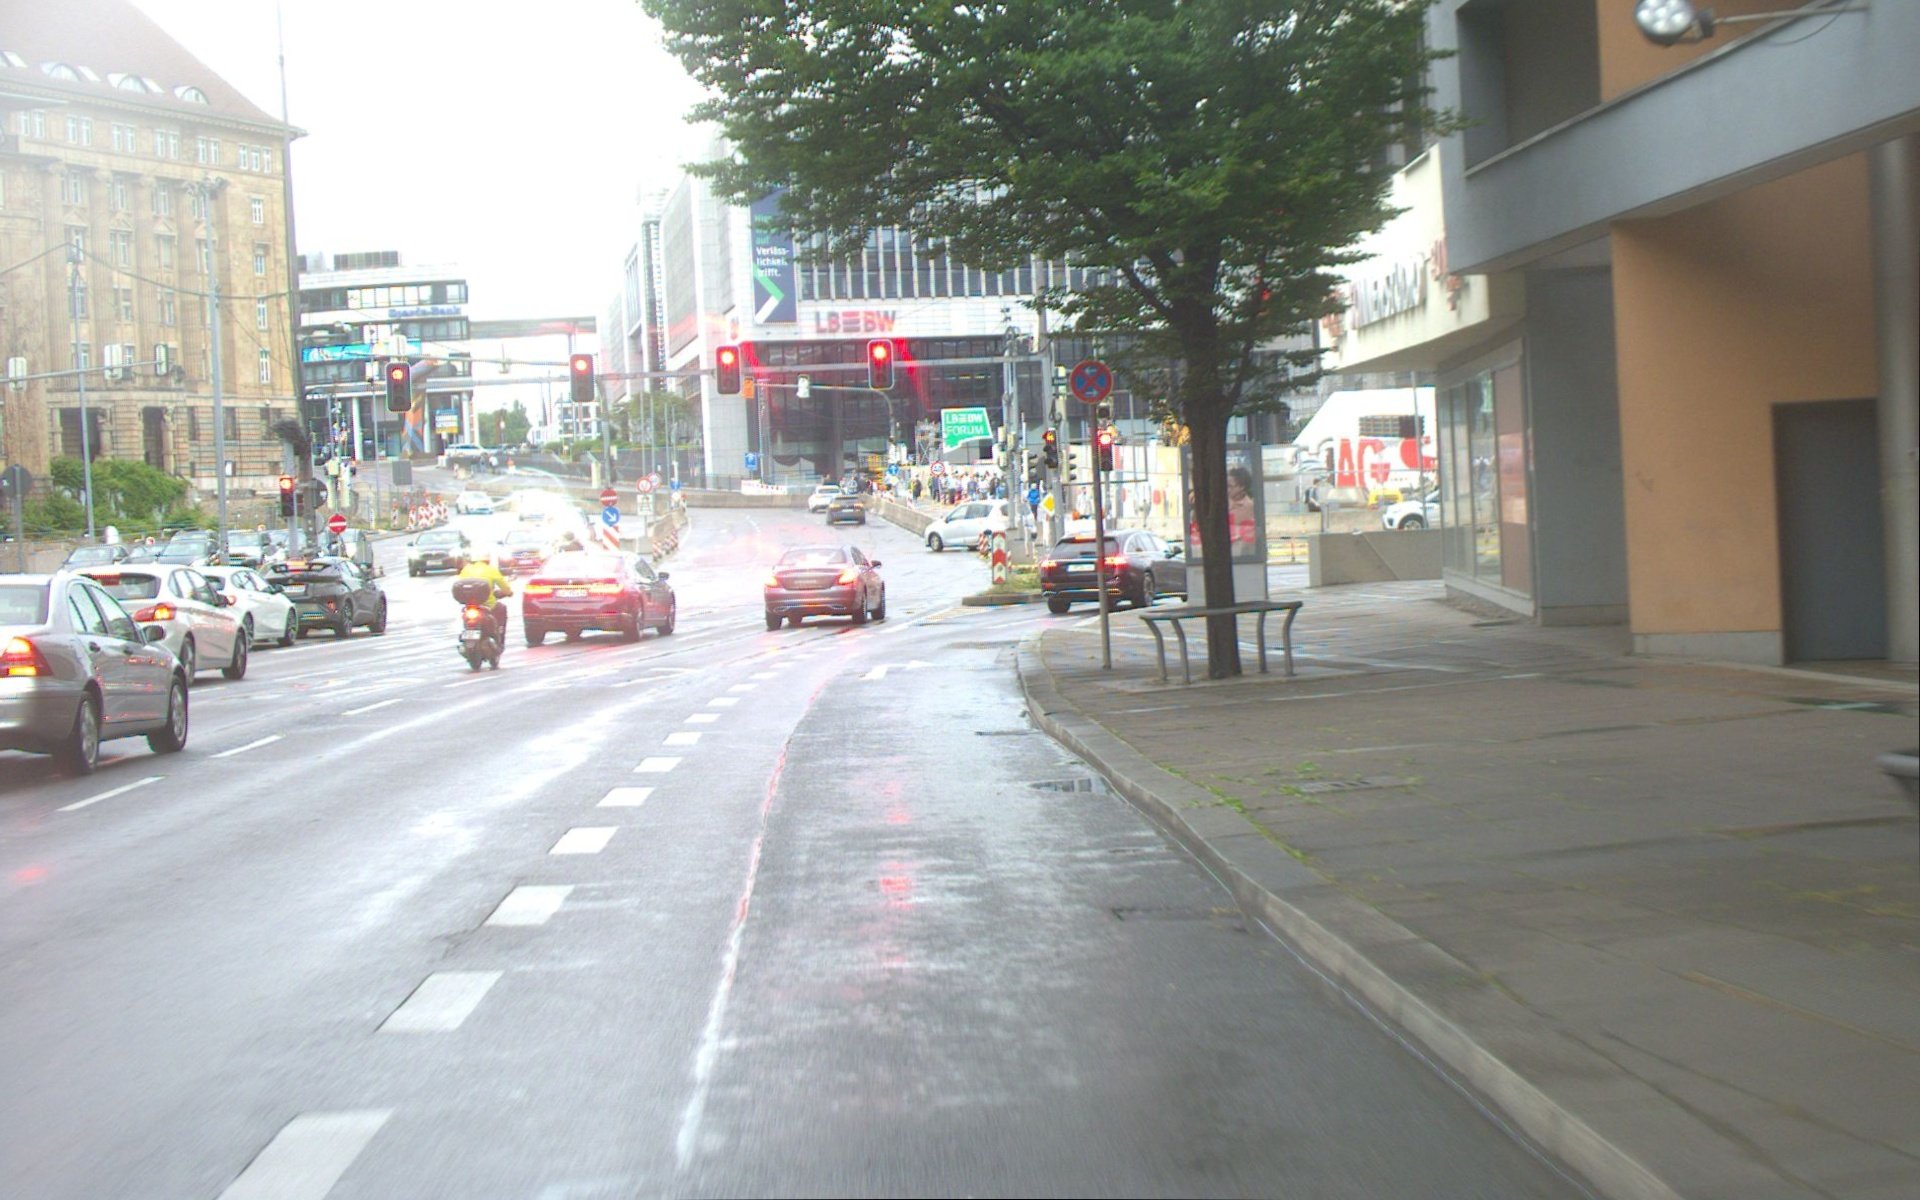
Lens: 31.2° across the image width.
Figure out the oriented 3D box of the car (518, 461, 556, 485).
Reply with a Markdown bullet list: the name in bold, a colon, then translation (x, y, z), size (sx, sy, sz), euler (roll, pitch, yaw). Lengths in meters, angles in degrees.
- **car**: translation (-25.028, -7.512, 203.508), size (1.767, 1.256, 4.194), euler (-2, 1, -1)

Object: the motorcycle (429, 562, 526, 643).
- **motorcycle**: translation (-6.361, 0.020, 45.433), size (0.942, 0.986, 2.294), euler (-2, 2, 0)

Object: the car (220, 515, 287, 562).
- **car**: translation (-24.663, -2.158, 120.065), size (1.697, 1.568, 4.001), euler (-2, 1, -3)

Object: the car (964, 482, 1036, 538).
- **car**: translation (1.302, -2.965, 113.070), size (1.727, 1.634, 3.436), euler (-2, 4, -11)

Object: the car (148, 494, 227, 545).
- **car**: translation (-25.068, -2.617, 111.644), size (1.697, 1.513, 3.875), euler (-4, 2, -1)

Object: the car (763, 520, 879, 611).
- **car**: translation (-2.486, -0.658, 62.355), size (1.783, 1.397, 4.487), euler (-2, 3, 1)

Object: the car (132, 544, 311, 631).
- **car**: translation (-12.600, -0.231, 58.900), size (1.783, 1.368, 3.993), euler (-1, 1, 6)

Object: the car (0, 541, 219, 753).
- **car**: translation (-6.921, 0.298, 25.344), size (1.733, 1.399, 4.383), euler (-2, 1, 3)

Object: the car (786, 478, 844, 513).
- **car**: translation (-8.184, -5.883, 193.691), size (1.993, 1.809, 4.001), euler (-2, 1, -21)

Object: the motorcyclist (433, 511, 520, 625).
- **motorcyclist**: translation (-6.381, -0.428, 45.423), size (0.941, 1.470, 1.100), euler (-2, 1, 0)

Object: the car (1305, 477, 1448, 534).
- **car**: translation (12.882, -2.917, 106.434), size (3.986, 1.634, 2.001), euler (-2, 1, -9)

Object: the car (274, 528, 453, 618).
- **car**: translation (-11.312, -0.533, 65.458), size (1.784, 1.594, 4.070), euler (-1, 1, 14)

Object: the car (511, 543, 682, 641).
- **car**: translation (-6.073, -0.176, 57.983), size (1.887, 1.509, 5.002), euler (-2, 1, 5)

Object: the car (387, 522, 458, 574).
- **car**: translation (-17.317, -1.693, 110.895), size (1.821, 1.481, 4.001), euler (-3, 3, -4)

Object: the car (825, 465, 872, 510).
- **car**: translation (-5.299, -5.352, 163.514), size (1.993, 2.007, 4.001), euler (-2, 1, -5)

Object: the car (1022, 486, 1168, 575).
- **car**: translation (2.524, -1.292, 63.207), size (1.892, 1.538, 3.991), euler (-1, 1, 14)

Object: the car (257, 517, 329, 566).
- **car**: translation (-22.298, -1.965, 115.066), size (1.801, 1.568, 4.075), euler (-2, 1, -3)

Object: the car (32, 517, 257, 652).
- **car**: translation (-10.375, -0.228, 44.019), size (1.733, 1.610, 4.000), euler (-2, 1, 3)
